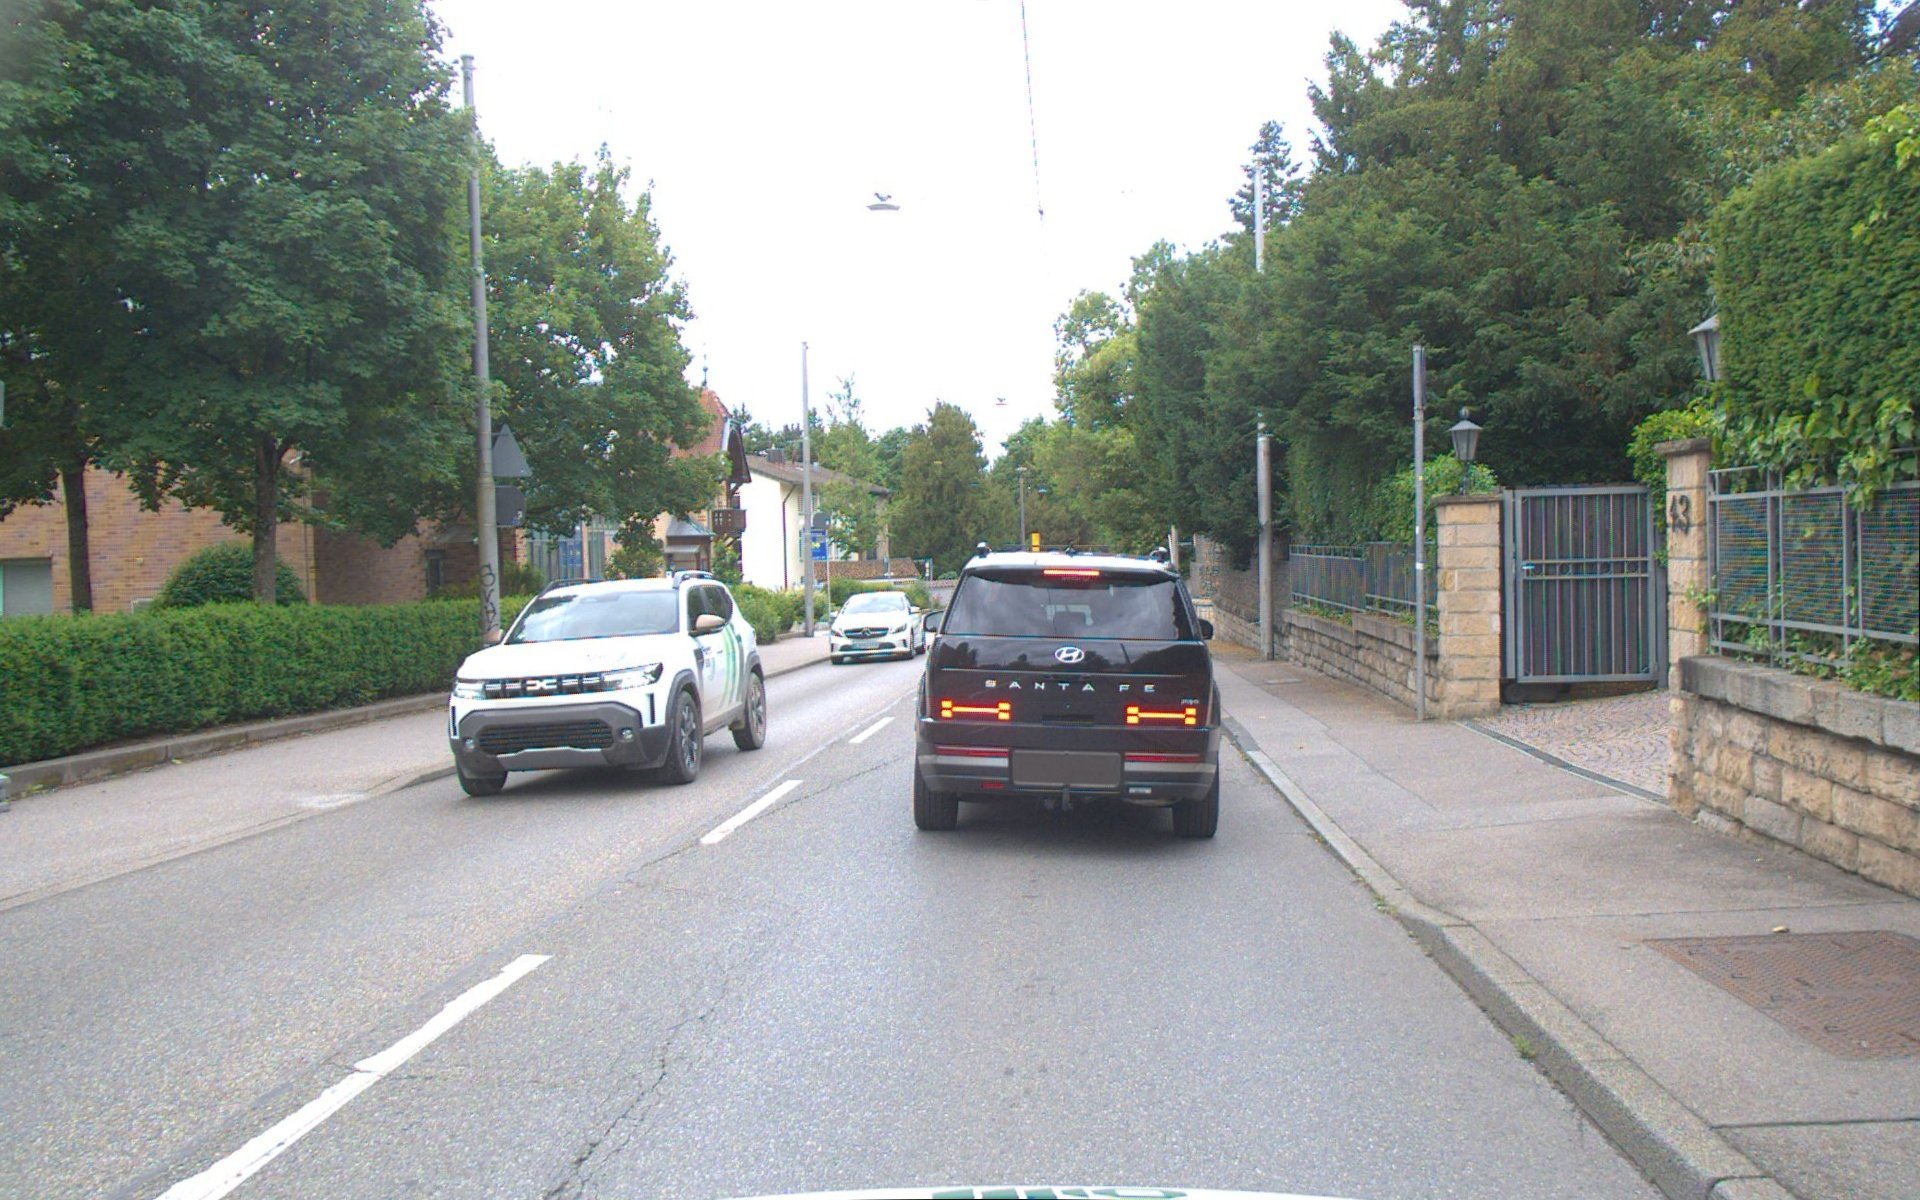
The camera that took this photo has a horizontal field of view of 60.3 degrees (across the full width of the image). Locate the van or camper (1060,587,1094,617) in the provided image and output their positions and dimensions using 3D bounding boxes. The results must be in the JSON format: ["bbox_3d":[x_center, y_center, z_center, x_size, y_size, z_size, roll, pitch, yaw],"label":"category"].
[{"bbox_3d":[7.176,0.095,101.452,1.951,1.680,4.003,-2,0,5],"label":"van or camper"}]

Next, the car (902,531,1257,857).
[{"bbox_3d":[0.815,0.478,11.209,1.916,1.742,4.226,1,1,4],"label":"car"}]

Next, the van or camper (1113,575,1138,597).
[{"bbox_3d":[13.492,-1.179,135.034,1.951,1.680,4.003,-2,0,5],"label":"van or camper"}]

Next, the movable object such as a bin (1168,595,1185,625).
[{"bbox_3d":[6.947,0.326,53.086,0.435,0.925,0.394,-3,1,14],"label":"movable object such as a bin"}]

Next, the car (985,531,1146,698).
[{"bbox_3d":[1.380,0.238,22.703,1.916,1.990,4.223,3,-2,2],"label":"car"}]

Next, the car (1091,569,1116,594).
[{"bbox_3d":[10.345,-1.338,118.956,1.610,1.588,3.652,-1,-2,7],"label":"car"}]

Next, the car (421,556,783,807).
[{"bbox_3d":[-2.784,0.562,13.927,1.732,1.666,4.304,-4,0,4],"label":"car"}]

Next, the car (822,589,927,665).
[{"bbox_3d":[-1.779,0.539,35.773,1.729,1.446,4.067,-3,0,4],"label":"car"}]
